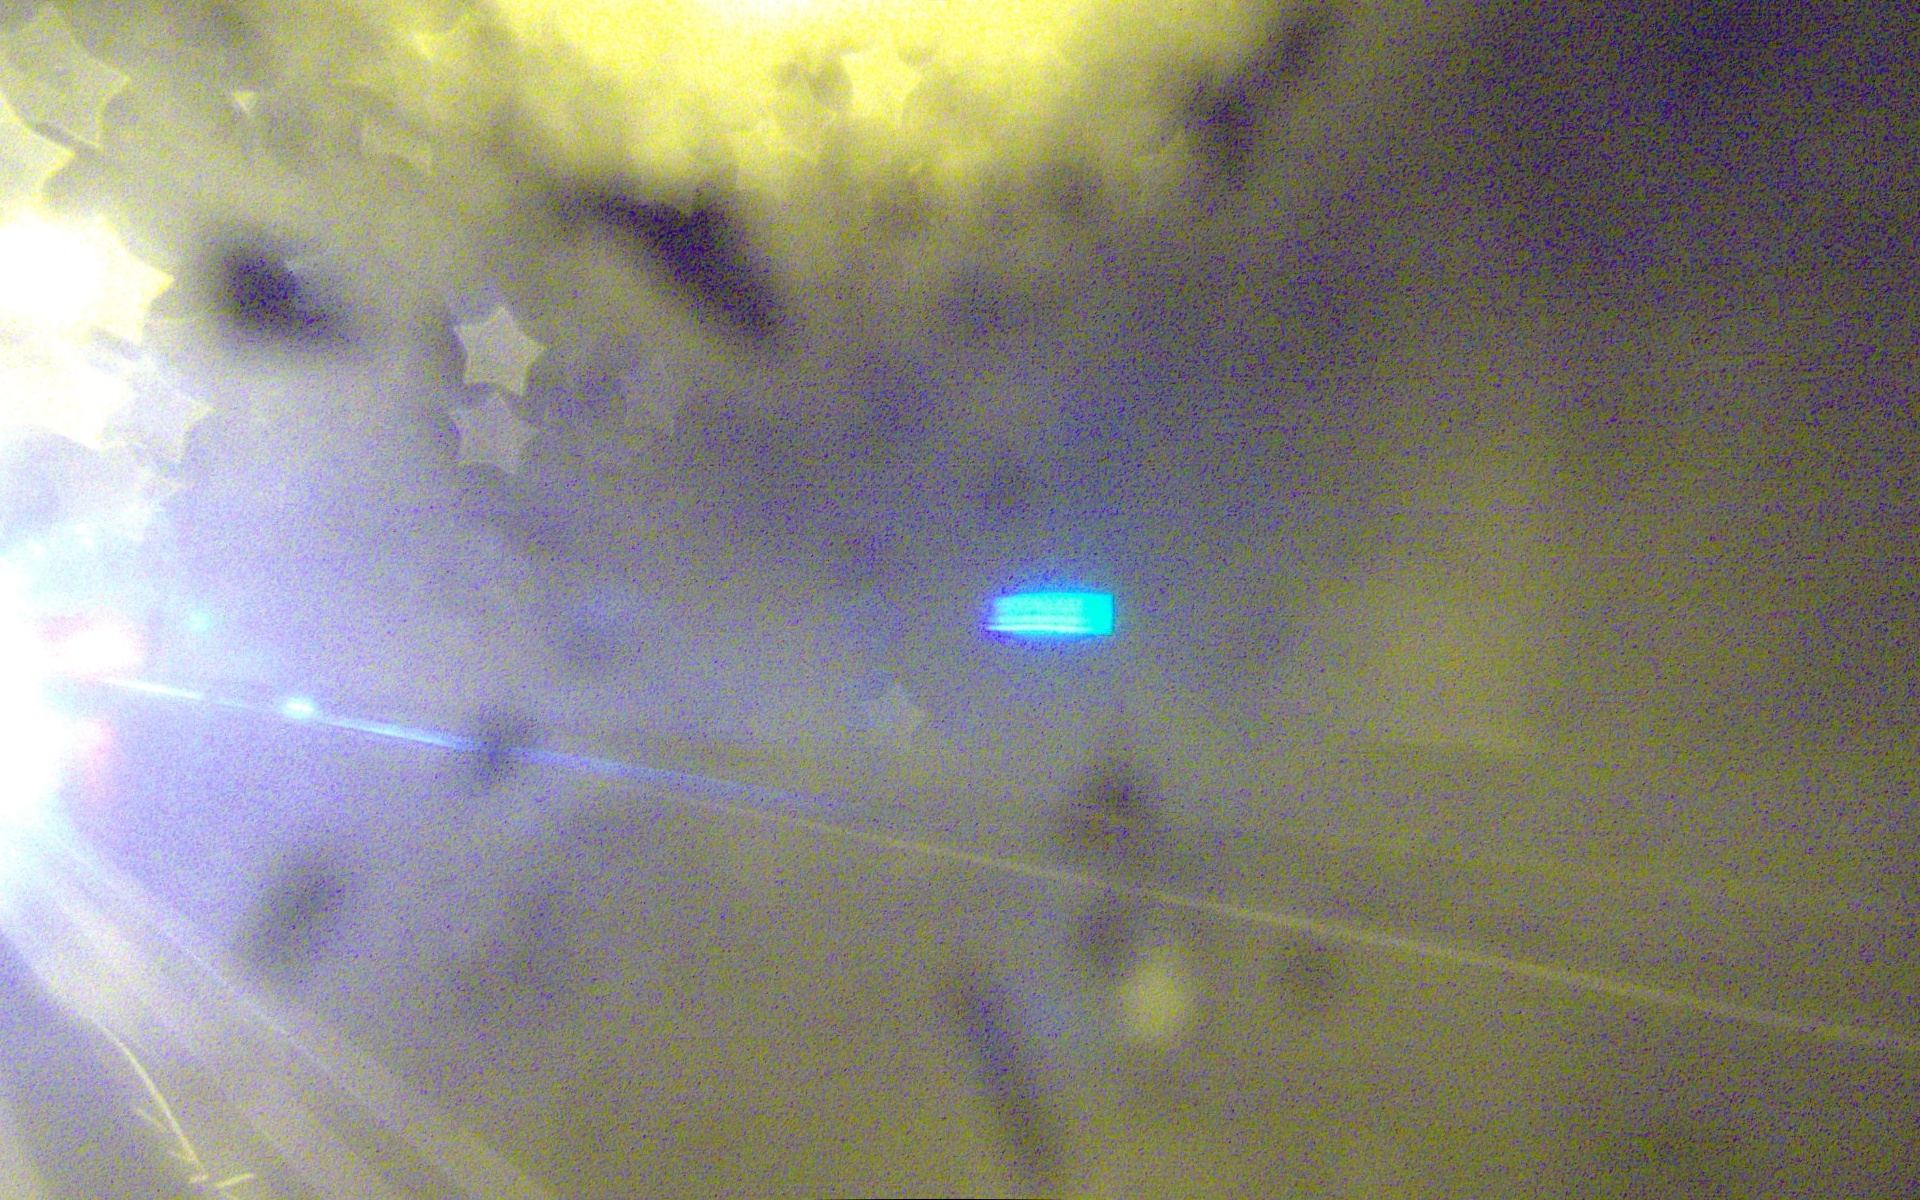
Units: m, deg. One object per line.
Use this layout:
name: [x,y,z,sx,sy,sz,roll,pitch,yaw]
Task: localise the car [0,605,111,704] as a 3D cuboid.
car: [-17.010,0.932,18.582,3.994,1.625,1.582,-1,0,41]
